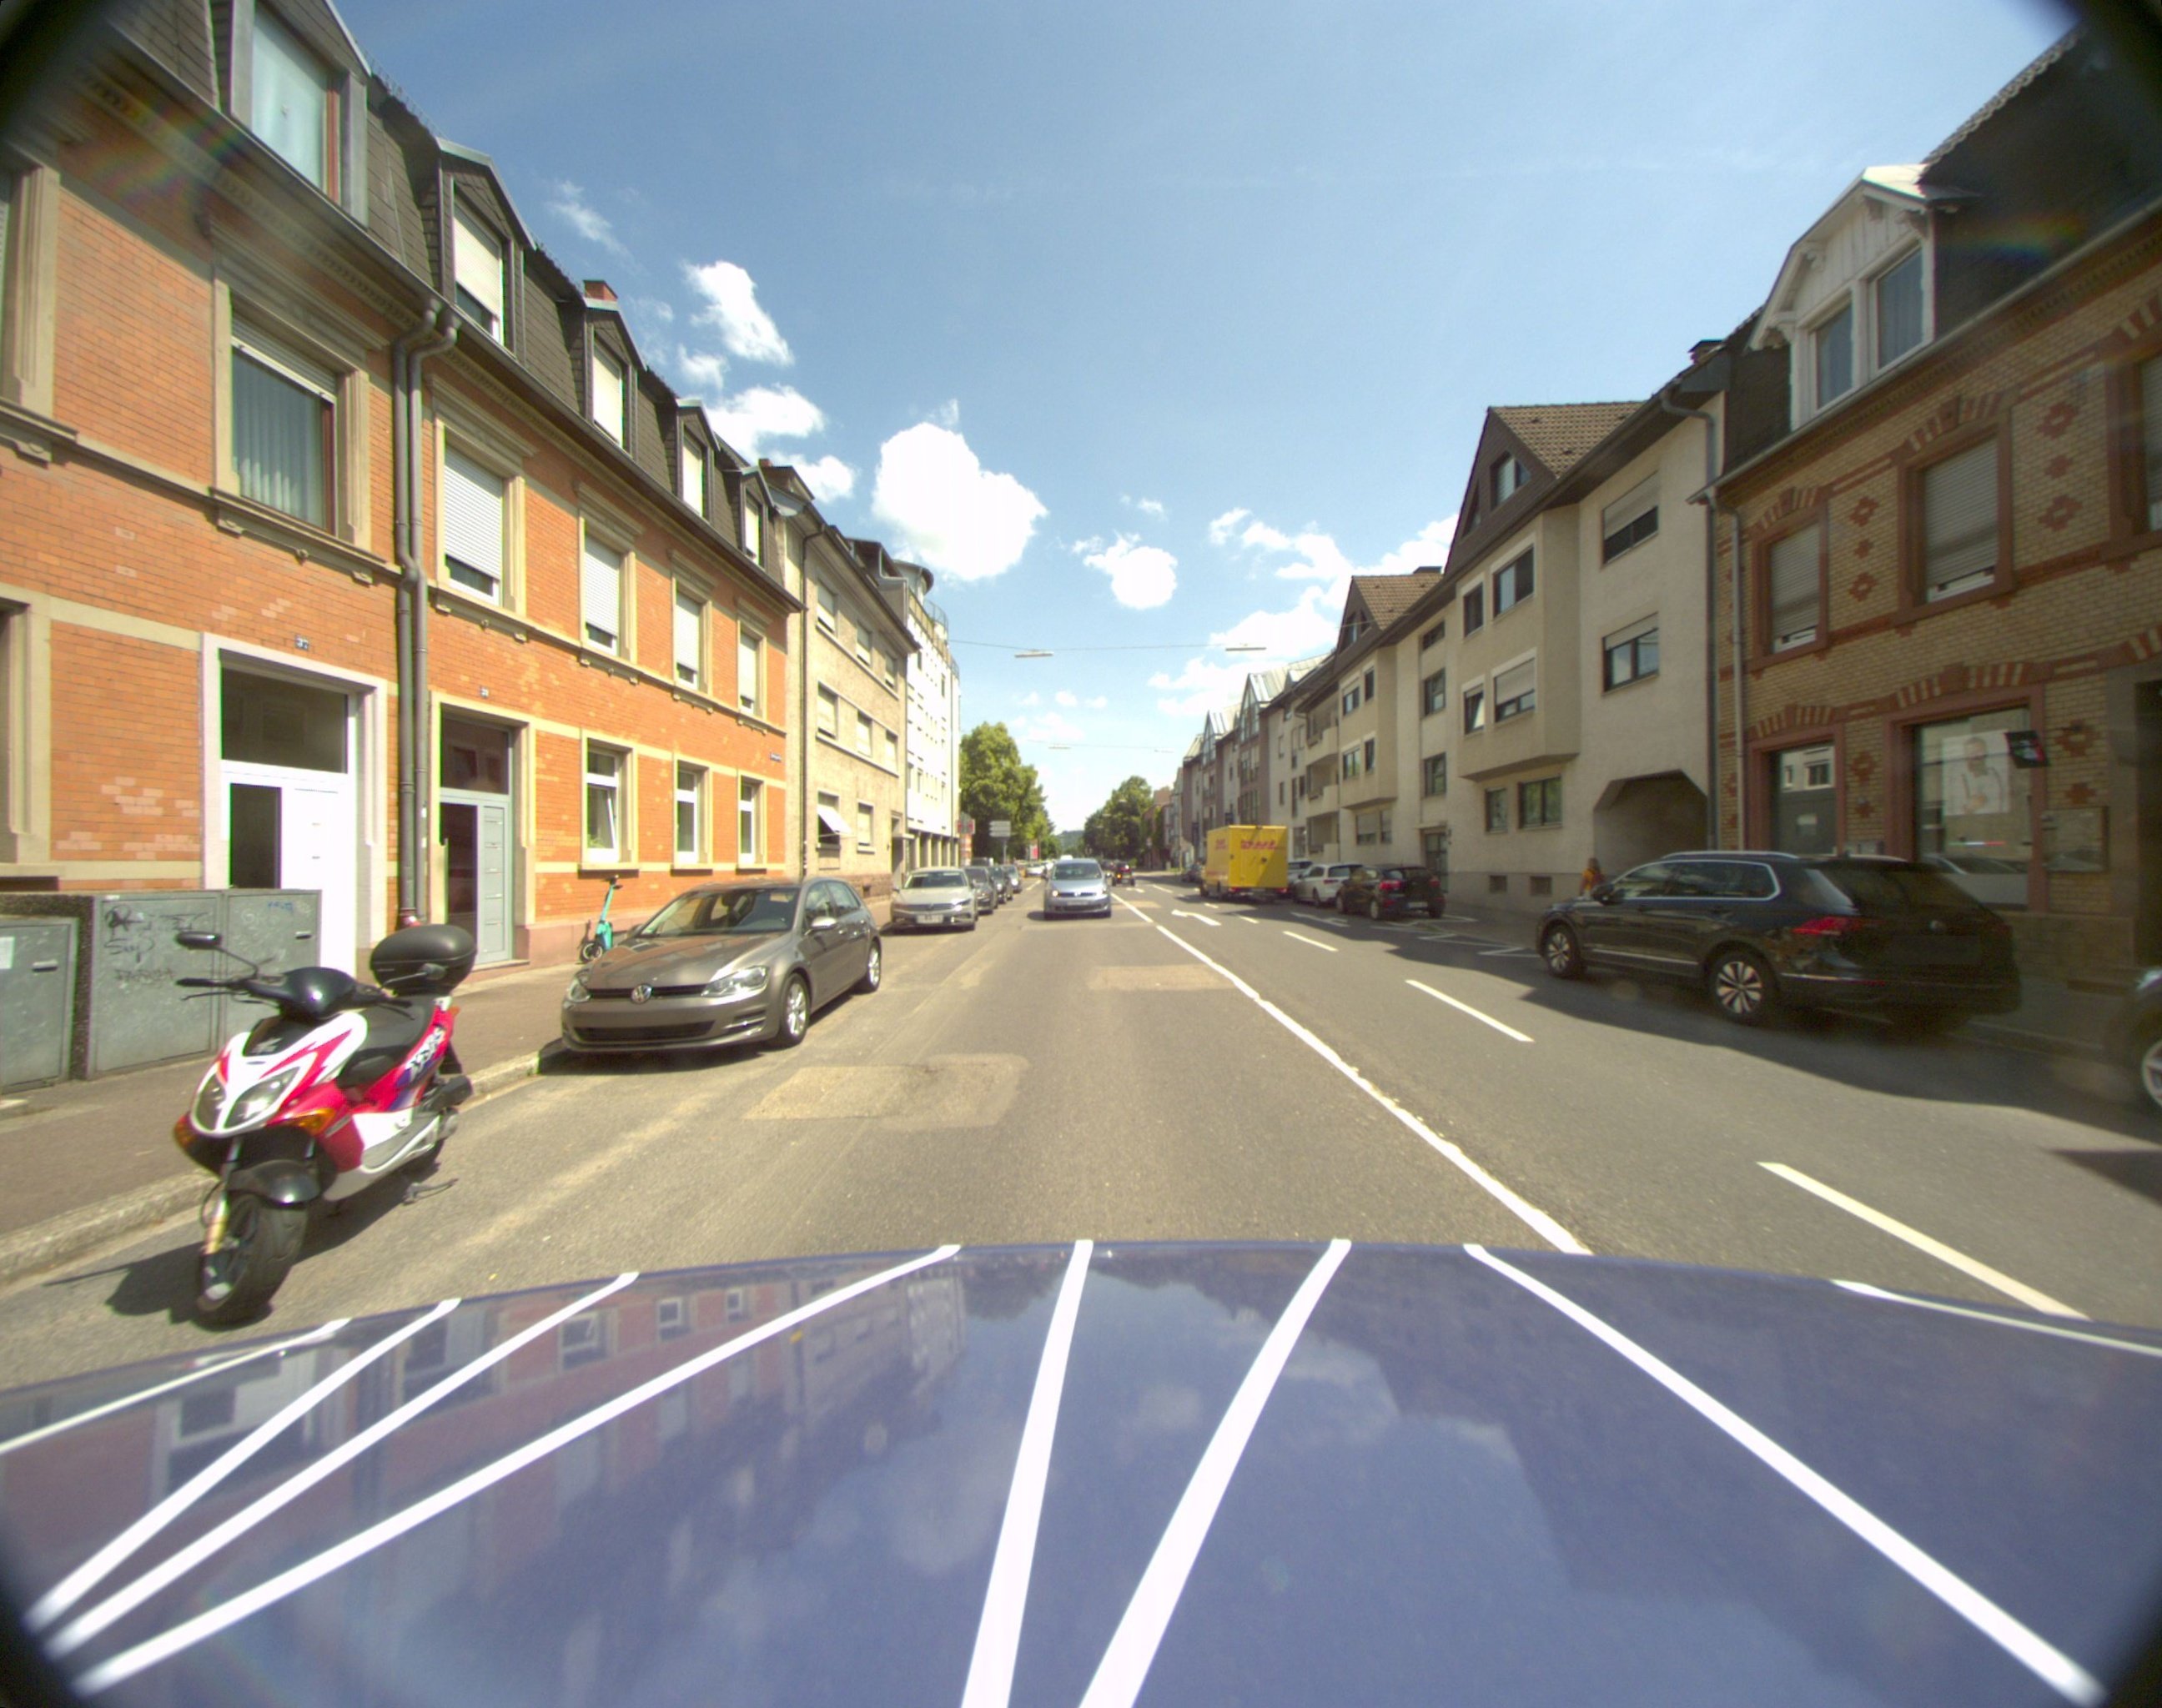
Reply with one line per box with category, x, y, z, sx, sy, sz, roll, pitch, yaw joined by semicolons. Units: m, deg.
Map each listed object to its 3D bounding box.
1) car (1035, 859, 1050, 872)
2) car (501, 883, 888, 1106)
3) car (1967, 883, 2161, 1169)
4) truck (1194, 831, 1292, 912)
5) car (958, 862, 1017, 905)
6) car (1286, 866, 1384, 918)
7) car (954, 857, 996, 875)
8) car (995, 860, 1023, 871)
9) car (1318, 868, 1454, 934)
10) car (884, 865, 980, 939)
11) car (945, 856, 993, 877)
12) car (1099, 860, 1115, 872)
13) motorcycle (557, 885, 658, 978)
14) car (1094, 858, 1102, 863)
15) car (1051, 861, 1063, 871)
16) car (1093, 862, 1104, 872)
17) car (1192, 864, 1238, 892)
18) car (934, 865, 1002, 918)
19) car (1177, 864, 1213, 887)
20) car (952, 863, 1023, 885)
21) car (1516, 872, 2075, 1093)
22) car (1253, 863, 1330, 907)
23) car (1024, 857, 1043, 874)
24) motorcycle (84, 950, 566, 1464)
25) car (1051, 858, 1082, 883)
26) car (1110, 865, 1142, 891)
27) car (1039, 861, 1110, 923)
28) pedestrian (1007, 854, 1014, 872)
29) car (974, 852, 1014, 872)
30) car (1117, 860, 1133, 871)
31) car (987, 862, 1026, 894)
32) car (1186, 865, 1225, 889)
car;-4.502;1.315;89.225;1.667;1.419;4.000;-1;0;-1
car;-3.274;1.077;7.489;1.705;1.372;4.166;-1;0;-1
car;7.065;1.040;2.996;1.844;1.587;4.502;3;0;1
truck;6.120;0.604;29.835;2.231;2.755;7.564;1;0;1
car;-3.486;1.074;29.011;1.716;1.464;4.438;-1;0;0
car;8.592;1.237;26.155;1.844;1.479;4.386;-3;0;0
car;-9.917;1.130;71.206;3.774;1.657;1.663;0;0;-6
car;-10.455;1.673;110.370;3.849;1.350;1.628;-2;0;-10
car;8.313;1.216;21.209;1.844;1.479;4.501;-3;0;-1
car;-3.446;1.040;18.309;1.859;1.455;4.548;-1;0;-6
car;-10.071;1.110;68.563;3.998;1.740;2.016;-1;0;-2
car;3.473;1.622;102.481;1.817;1.611;4.441;1;-1;-2
motorcycle;-6.874;1.093;11.106;0.597;1.217;1.361;-1;0;1
car;4.659;1.863;206.985;1.758;1.325;3.607;-2;0;-3
car;-3.702;1.833;117.819;1.867;1.516;4.208;-1;0;-1
car;2.793;2.032;120.243;1.747;1.411;4.223;0;0;1
car;8.108;1.422;46.265;1.845;1.480;4.385;-3;0;-2
car;-3.378;1.088;23.333;1.656;1.412;4.047;-1;0;-3
car;8.281;1.540;55.790;1.844;1.439;4.968;-3;0;0
car;-6.296;1.359;51.525;4.594;1.357;1.999;-1;0;-3
car;6.939;1.075;8.264;1.844;1.587;4.502;1;0;1
car;8.723;1.233;31.868;1.844;1.586;4.385;-3;0;-1
car;-4.593;1.099;73.840;1.772;1.476;3.890;-1;0;-3
motorcycle;-3.173;1.129;3.204;1.991;1.218;1.115;-2;0;40
car;-1.020;1.172;55.445;1.998;1.652;4.625;0;0;2
car;2.627;1.384;44.886;1.501;1.450;2.721;-1;0;-6
car;-0.205;0.966;21.137;1.747;1.513;4.222;-1;0;-1
pedestrian;-6.732;0.845;72.862;0.618;1.754;0.737;-1;1;-2
car;-10.576;0.953;92.742;4.614;2.263;2.106;-3;0;-1
car;6.661;1.737;114.608;1.891;1.531;4.567;0;0;-3
car;-3.709;1.171;38.192;1.682;1.446;4.142;-2;0;-3
car;8.285;1.518;50.879;1.844;1.375;4.326;-3;0;-1
